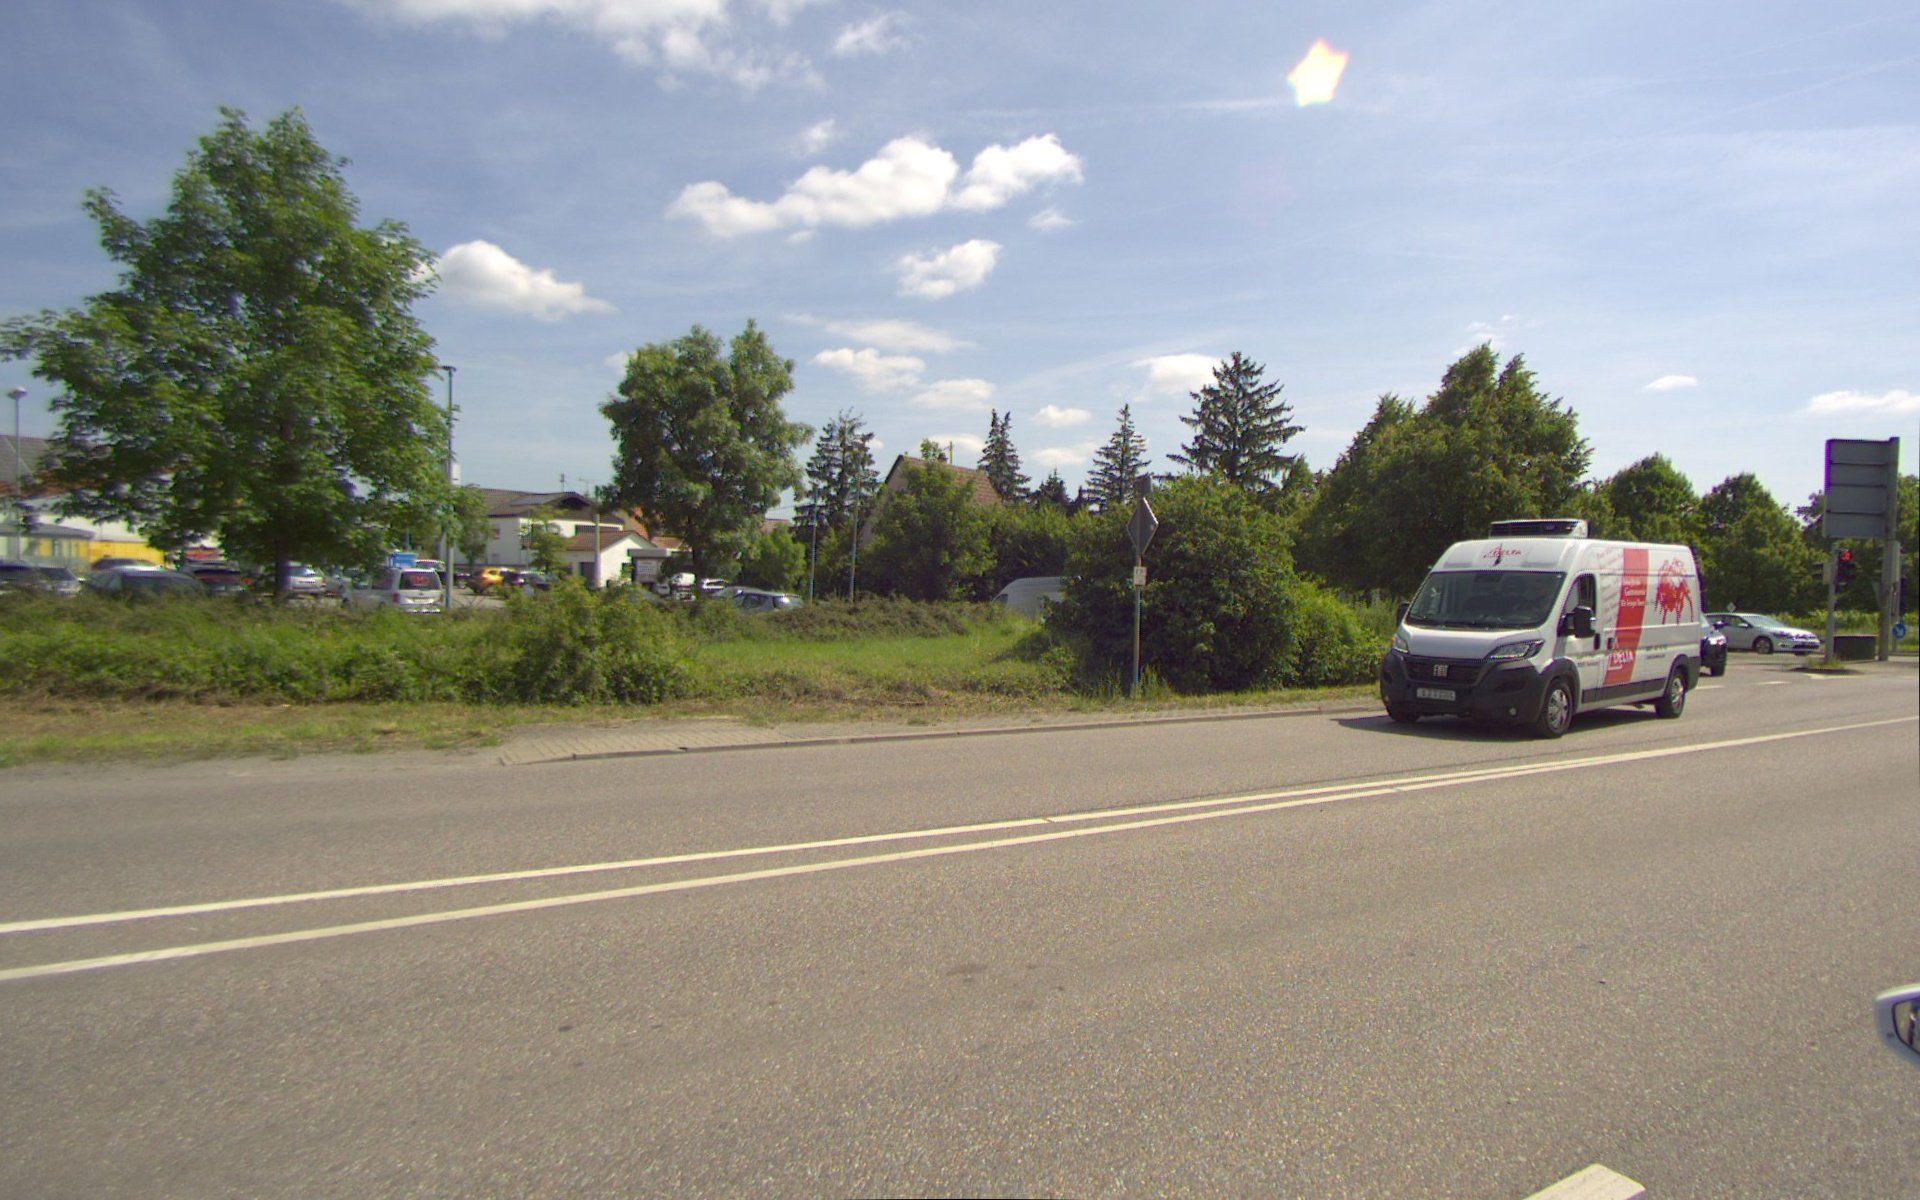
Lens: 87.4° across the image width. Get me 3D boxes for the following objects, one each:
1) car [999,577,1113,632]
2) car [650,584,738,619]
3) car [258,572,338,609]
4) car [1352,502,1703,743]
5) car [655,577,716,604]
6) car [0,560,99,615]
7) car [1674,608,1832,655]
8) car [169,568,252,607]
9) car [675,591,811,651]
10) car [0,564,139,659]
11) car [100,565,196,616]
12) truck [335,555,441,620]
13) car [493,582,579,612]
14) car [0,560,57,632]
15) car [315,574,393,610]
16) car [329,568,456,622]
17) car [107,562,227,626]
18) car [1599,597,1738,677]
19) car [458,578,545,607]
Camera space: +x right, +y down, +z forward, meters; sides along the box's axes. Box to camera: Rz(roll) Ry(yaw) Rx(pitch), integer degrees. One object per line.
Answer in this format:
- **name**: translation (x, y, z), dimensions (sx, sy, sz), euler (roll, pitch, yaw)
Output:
- **car**: translation (4.130, 0.165, 43.701), dimensions (4.524, 2.209, 1.992), euler (2, 1, 37)
- **car**: translation (-13.483, 0.090, 51.102), dimensions (1.883, 1.662, 3.984), euler (2, 0, 38)
- **car**: translation (-30.188, -0.466, 45.764), dimensions (4.193, 1.562, 1.871), euler (2, 0, 40)
- **car**: translation (8.016, 0.268, 13.876), dimensions (5.932, 2.690, 2.101), euler (1, 1, -38)
- **car**: translation (-20.071, -0.687, 73.498), dimensions (1.866, 1.782, 3.988), euler (2, 0, 35)
- **car**: translation (-28.129, -0.387, 30.828), dimensions (3.936, 1.549, 1.772), euler (2, 0, 37)
- **car**: translation (27.917, 1.061, 35.564), dimensions (1.778, 1.480, 4.251), euler (0, 1, -11)
- **car**: translation (-32.301, -0.538, 43.254), dimensions (4.193, 1.562, 1.871), euler (2, 0, 40)
- **car**: translation (-6.983, 0.657, 32.278), dimensions (3.928, 1.751, 1.997), euler (2, 0, 29)
- **car**: translation (-17.463, 0.187, 19.542), dimensions (3.941, 1.679, 1.686), euler (2, 0, 42)
- **car**: translation (-26.414, -0.316, 32.642), dimensions (3.941, 1.549, 1.770), euler (2, 0, 41)
- **truck**: translation (-22.242, -0.500, 39.003), dimensions (3.932, 2.397, 1.994), euler (2, 0, 34)
- **car**: translation (-24.448, -0.159, 58.057), dimensions (1.849, 1.562, 4.243), euler (2, 0, 37)
- **car**: translation (-24.709, -0.143, 25.645), dimensions (3.939, 1.697, 1.903), euler (3, 1, 40)
- **car**: translation (-28.910, -0.389, 47.907), dimensions (4.193, 1.562, 1.871), euler (2, 0, 40)
- **car**: translation (-19.219, -0.184, 33.973), dimensions (4.353, 1.717, 1.994), euler (1, 0, 34)
- **car**: translation (-22.751, -0.178, 28.765), dimensions (3.939, 1.711, 1.918), euler (2, 0, 40)
- **car**: translation (17.448, 0.868, 24.964), dimensions (1.836, 1.773, 4.109), euler (2, 0, 21)
- **car**: translation (-27.026, -0.445, 59.313), dimensions (1.849, 1.562, 4.243), euler (2, 0, 37)
